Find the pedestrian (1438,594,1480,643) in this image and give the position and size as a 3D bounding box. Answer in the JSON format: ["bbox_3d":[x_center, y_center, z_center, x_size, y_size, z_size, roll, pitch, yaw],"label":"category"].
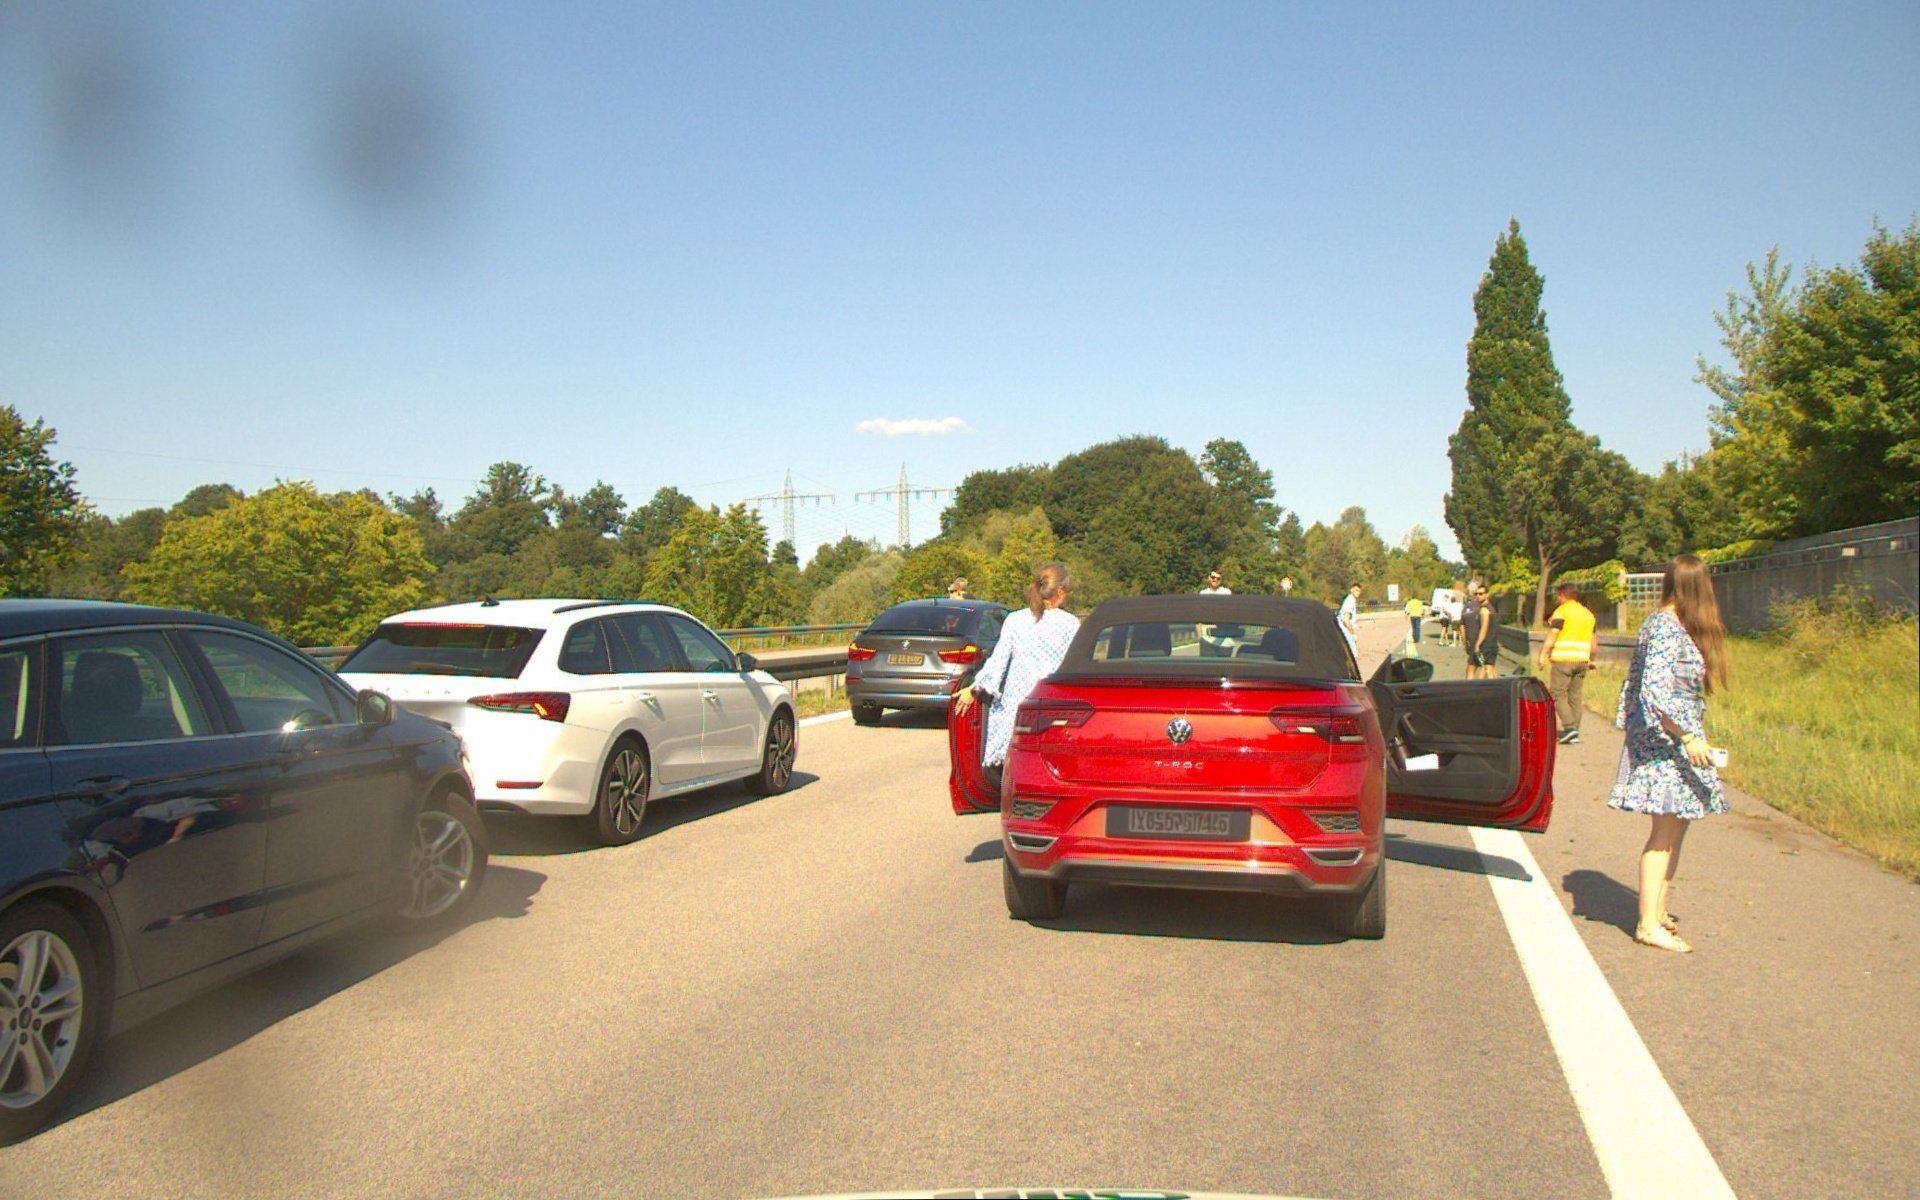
[{"bbox_3d":[17.562,0.641,58.207,0.993,1.719,0.993,1,0,-21],"label":"pedestrian"}]

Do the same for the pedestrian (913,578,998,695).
[{"bbox_3d":[-0.061,0.569,26.035,1.091,1.794,1.045,-1,0,13],"label":"pedestrian"}]

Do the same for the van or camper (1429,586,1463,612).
[{"bbox_3d":[45.482,-0.070,154.704,1.957,2.356,4.459,1,0,31],"label":"van or camper"}]

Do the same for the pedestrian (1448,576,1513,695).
[{"bbox_3d":[7.997,0.538,25.437,0.794,1.790,0.828,1,0,6],"label":"pedestrian"}]

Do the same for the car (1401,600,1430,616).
[{"bbox_3d":[44.455,0.785,161.515,1.700,1.513,4.201,1,0,30],"label":"car"}]

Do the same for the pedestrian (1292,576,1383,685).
[{"bbox_3d":[6.467,0.514,28.353,1.077,1.820,1.096,1,-1,-31],"label":"pedestrian"}]

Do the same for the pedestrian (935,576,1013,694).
[{"bbox_3d":[0.234,0.570,27.310,1.042,1.916,1.094,-1,0,14],"label":"pedestrian"}]

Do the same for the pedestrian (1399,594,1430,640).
[{"bbox_3d":[17.297,0.657,62.885,1.034,1.719,1.017,1,0,21],"label":"pedestrian"}]

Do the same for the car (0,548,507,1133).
[{"bbox_3d":[-3.247,0.639,5.691,1.750,1.519,4.496,-1,0,5],"label":"car"}]

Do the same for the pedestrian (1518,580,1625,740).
[{"bbox_3d":[6.690,0.635,18.151,0.937,1.682,1.279,-1,0,14],"label":"pedestrian"}]

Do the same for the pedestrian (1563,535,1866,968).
[{"bbox_3d":[3.226,0.611,7.197,1.101,1.725,0.893,-1,0,20],"label":"pedestrian"}]

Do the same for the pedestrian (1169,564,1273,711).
[{"bbox_3d":[3.583,0.503,22.827,1.085,1.946,1.255,-1,0,-8],"label":"pedestrian"}]

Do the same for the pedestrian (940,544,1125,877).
[{"bbox_3d":[0.406,0.572,8.960,0.821,1.712,0.744,-1,0,17],"label":"pedestrian"}]

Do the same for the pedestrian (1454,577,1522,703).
[{"bbox_3d":[7.496,0.558,23.519,0.876,1.755,0.755,1,-1,16],"label":"pedestrian"}]

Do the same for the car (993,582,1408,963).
[{"bbox_3d":[1.474,0.688,8.893,1.695,1.513,4.213,1,0,14],"label":"car"}]

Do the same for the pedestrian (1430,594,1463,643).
[{"bbox_3d":[17.373,0.644,59.082,1.090,1.719,0.974,1,0,14],"label":"pedestrian"}]

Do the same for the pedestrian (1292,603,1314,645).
[{"bbox_3d":[14.250,0.978,68.662,0.775,1.719,0.792,1,-1,19],"label":"pedestrian"}]

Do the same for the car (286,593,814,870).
[{"bbox_3d":[-2.463,0.702,11.115,1.658,1.467,4.213,1,0,14],"label":"car"}]

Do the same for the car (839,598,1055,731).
[{"bbox_3d":[-0.038,0.710,20.612,1.658,1.451,4.337,1,0,14],"label":"car"}]
